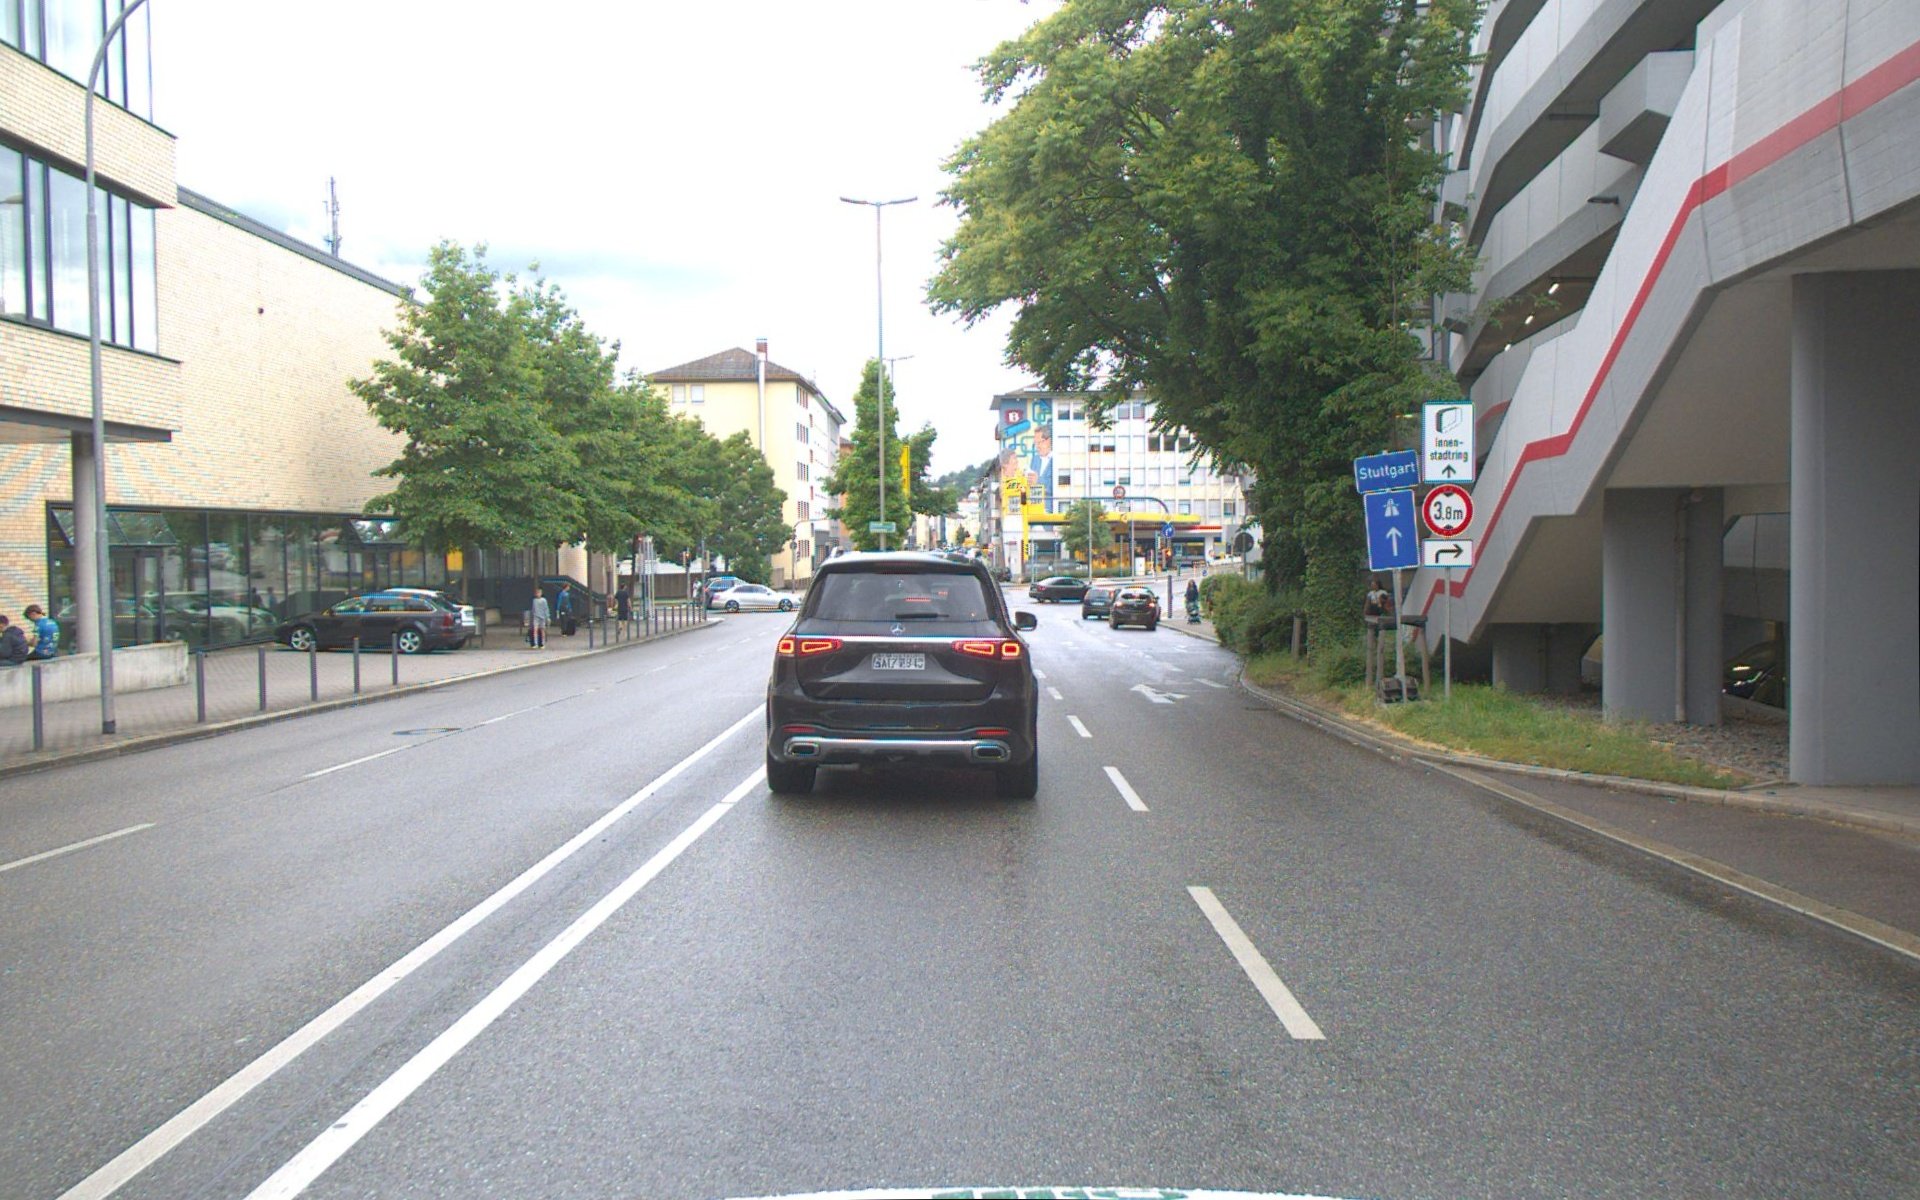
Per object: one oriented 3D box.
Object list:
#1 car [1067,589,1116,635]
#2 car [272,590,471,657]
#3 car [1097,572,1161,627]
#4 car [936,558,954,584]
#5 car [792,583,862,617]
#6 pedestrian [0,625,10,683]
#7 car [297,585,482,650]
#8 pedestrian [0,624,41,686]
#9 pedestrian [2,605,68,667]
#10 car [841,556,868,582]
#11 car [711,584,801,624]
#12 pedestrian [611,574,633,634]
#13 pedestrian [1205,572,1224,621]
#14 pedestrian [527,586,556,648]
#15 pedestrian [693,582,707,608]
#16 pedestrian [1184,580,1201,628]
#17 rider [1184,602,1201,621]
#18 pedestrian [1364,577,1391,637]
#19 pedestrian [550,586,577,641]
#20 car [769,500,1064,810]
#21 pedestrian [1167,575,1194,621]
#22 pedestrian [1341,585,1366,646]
[{"bbox_3d":[6.039,0.553,76.175,1.952,2.049,4.000,1,0,0],"label":"car"},{"bbox_3d":[-14.831,0.587,41.915,4.382,1.615,1.997,0,0,-6],"label":"car"},{"bbox_3d":[6.528,-0.046,64.218,1.953,2.049,3.999,1,1,-2],"label":"car"},{"bbox_3d":[-1.647,-3.148,178.752,1.953,2.045,4.007,1,11,-1],"label":"car"},{"bbox_3d":[-7.908,-0.006,98.091,3.917,1.977,1.994,0,0,-12],"label":"car"},{"bbox_3d":[-13.615,0.746,22.787,0.585,0.800,0.760,1,-1,0],"label":"pedestrian"},{"bbox_3d":[-15.246,0.451,44.377,4.331,1.601,1.998,1,2,-7],"label":"car"},{"bbox_3d":[-13.663,0.782,23.701,0.574,0.859,0.727,0,-1,0],"label":"pedestrian"},{"bbox_3d":[-13.893,0.535,24.841,0.667,0.901,0.524,1,-1,0],"label":"pedestrian"},{"bbox_3d":[-8.383,-2.440,131.937,1.953,1.908,5.140,1,0,-2],"label":"car"},{"bbox_3d":[-10.829,0.194,87.959,4.714,2.049,1.997,0,1,-8],"label":"car"},{"bbox_3d":[-11.655,0.144,57.101,0.576,2.049,0.749,1,-1,-2],"label":"pedestrian"},{"bbox_3d":[10.224,-0.131,66.391,0.607,1.969,0.610,1,-1,-1],"label":"pedestrian"},{"bbox_3d":[-11.850,0.487,46.874,0.662,1.726,0.479,1,0,0],"label":"pedestrian"},{"bbox_3d":[-14.898,-0.276,94.826,0.697,1.487,0.598,1,-1,-1],"label":"pedestrian"},{"bbox_3d":[9.590,0.164,68.341,0.648,1.951,0.729,1,-1,8],"label":"pedestrian"},{"bbox_3d":[9.520,0.469,67.609,0.617,0.753,0.696,1,-1,12],"label":"rider"},{"bbox_3d":[10.667,0.182,42.253,0.569,1.527,0.504,1,-1,6],"label":"pedestrian"},{"bbox_3d":[-13.041,0.449,54.409,0.674,1.756,0.754,1,-2,-1],"label":"pedestrian"},{"bbox_3d":[-0.327,0.386,13.190,1.953,2.049,3.999,1,0,-1],"label":"car"},{"bbox_3d":[10.027,-0.082,75.213,1.004,2.049,0.999,1,0,-1],"label":"pedestrian"},{"bbox_3d":[10.077,0.397,42.390,0.539,1.559,0.488,1,-1,6],"label":"pedestrian"}]
